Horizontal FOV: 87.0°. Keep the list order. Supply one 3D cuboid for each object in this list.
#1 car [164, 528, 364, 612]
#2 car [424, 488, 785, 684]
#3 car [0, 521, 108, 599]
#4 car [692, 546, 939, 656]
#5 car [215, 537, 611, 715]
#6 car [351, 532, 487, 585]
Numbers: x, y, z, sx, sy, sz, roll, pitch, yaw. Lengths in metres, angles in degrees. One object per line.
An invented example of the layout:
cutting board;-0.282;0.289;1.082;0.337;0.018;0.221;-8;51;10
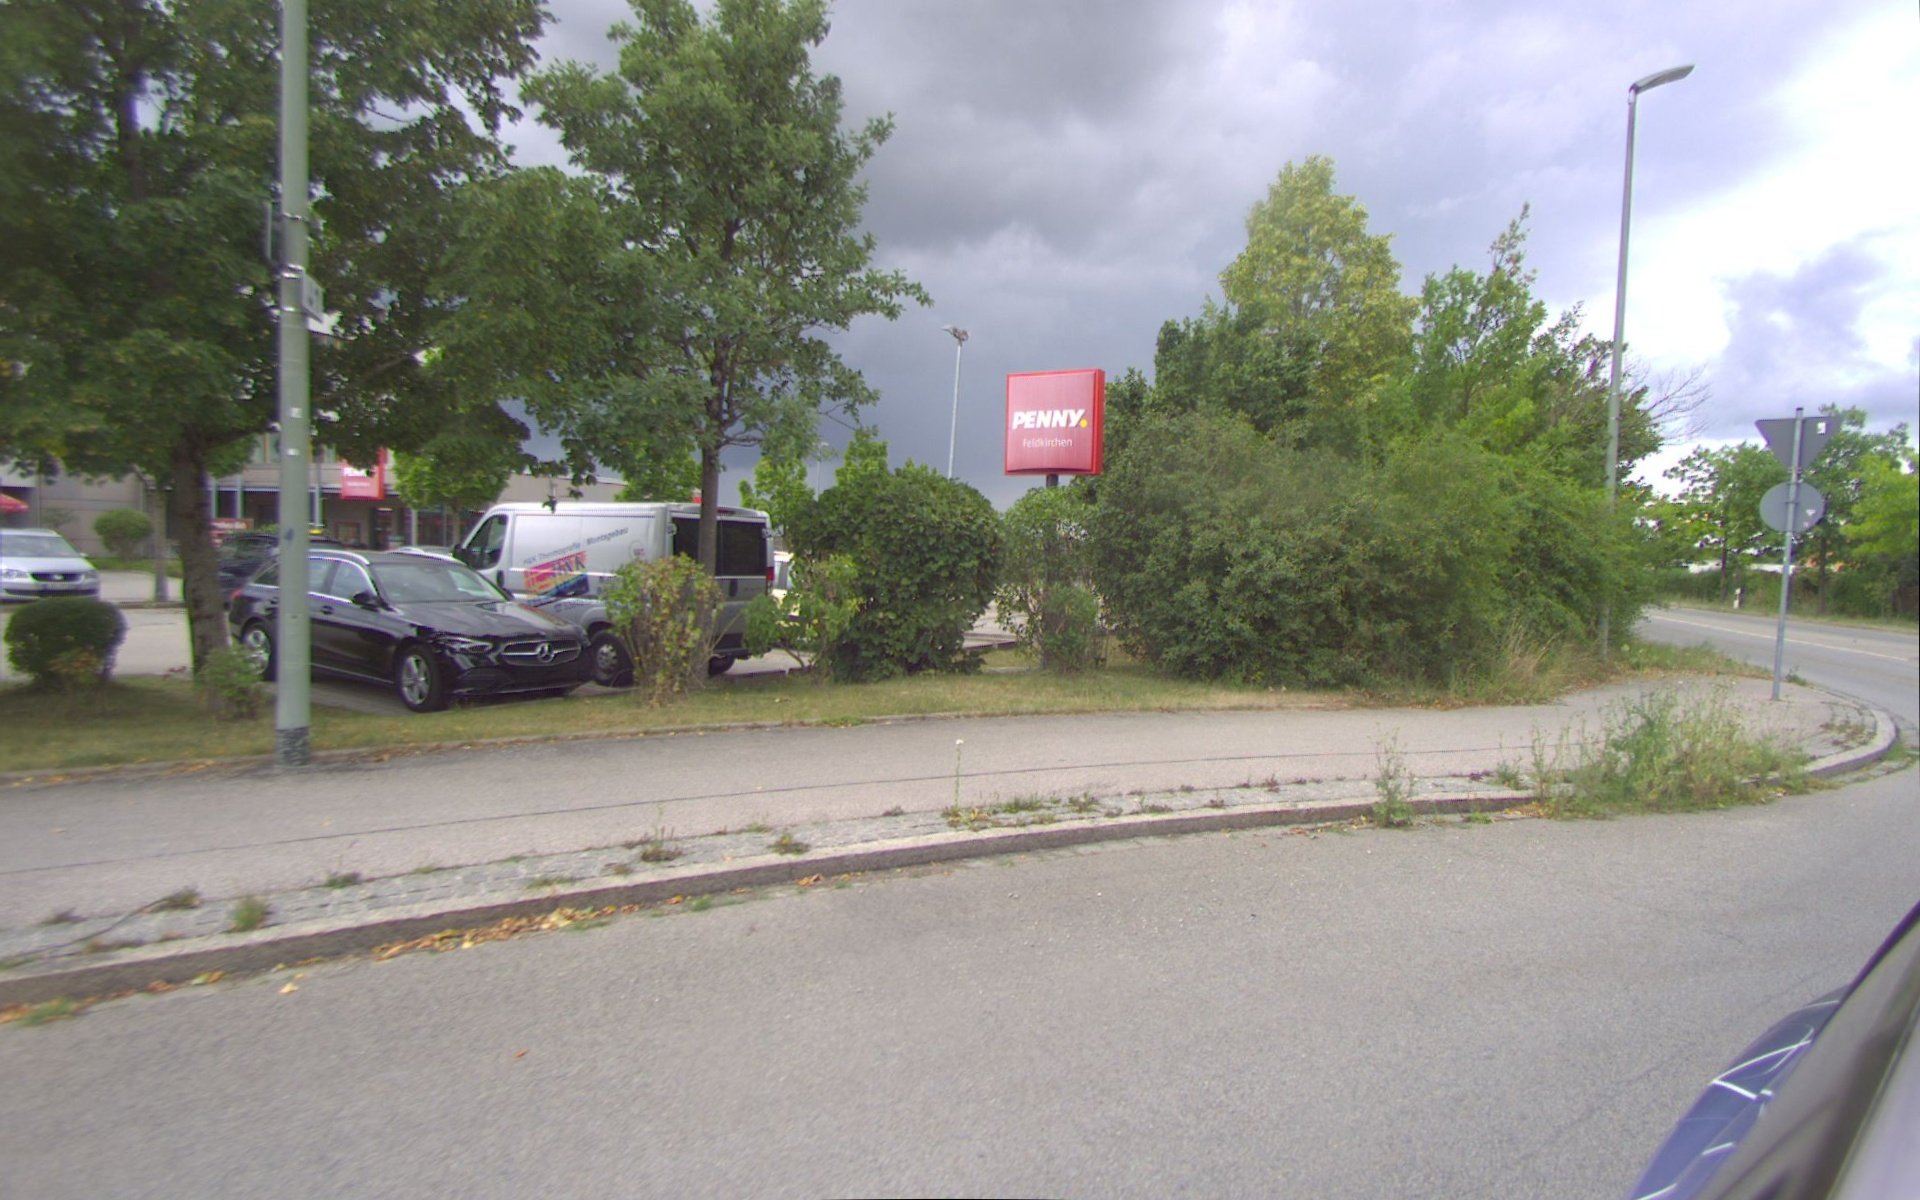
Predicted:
car;-14.461;-0.669;21.012;3.963;1.561;1.805;3;3;28
car;-4.728;-0.304;13.371;4.379;2.184;2.135;4;3;29
car;-20.082;-0.835;21.590;4.058;1.529;1.853;1;2;34
car;-2.491;-0.057;17.253;3.904;1.575;1.745;3;3;29
car;-6.031;0.143;11.031;4.379;1.511;1.745;4;3;29
car;-16.152;-1.214;30.191;4.055;1.475;1.792;1;2;32
